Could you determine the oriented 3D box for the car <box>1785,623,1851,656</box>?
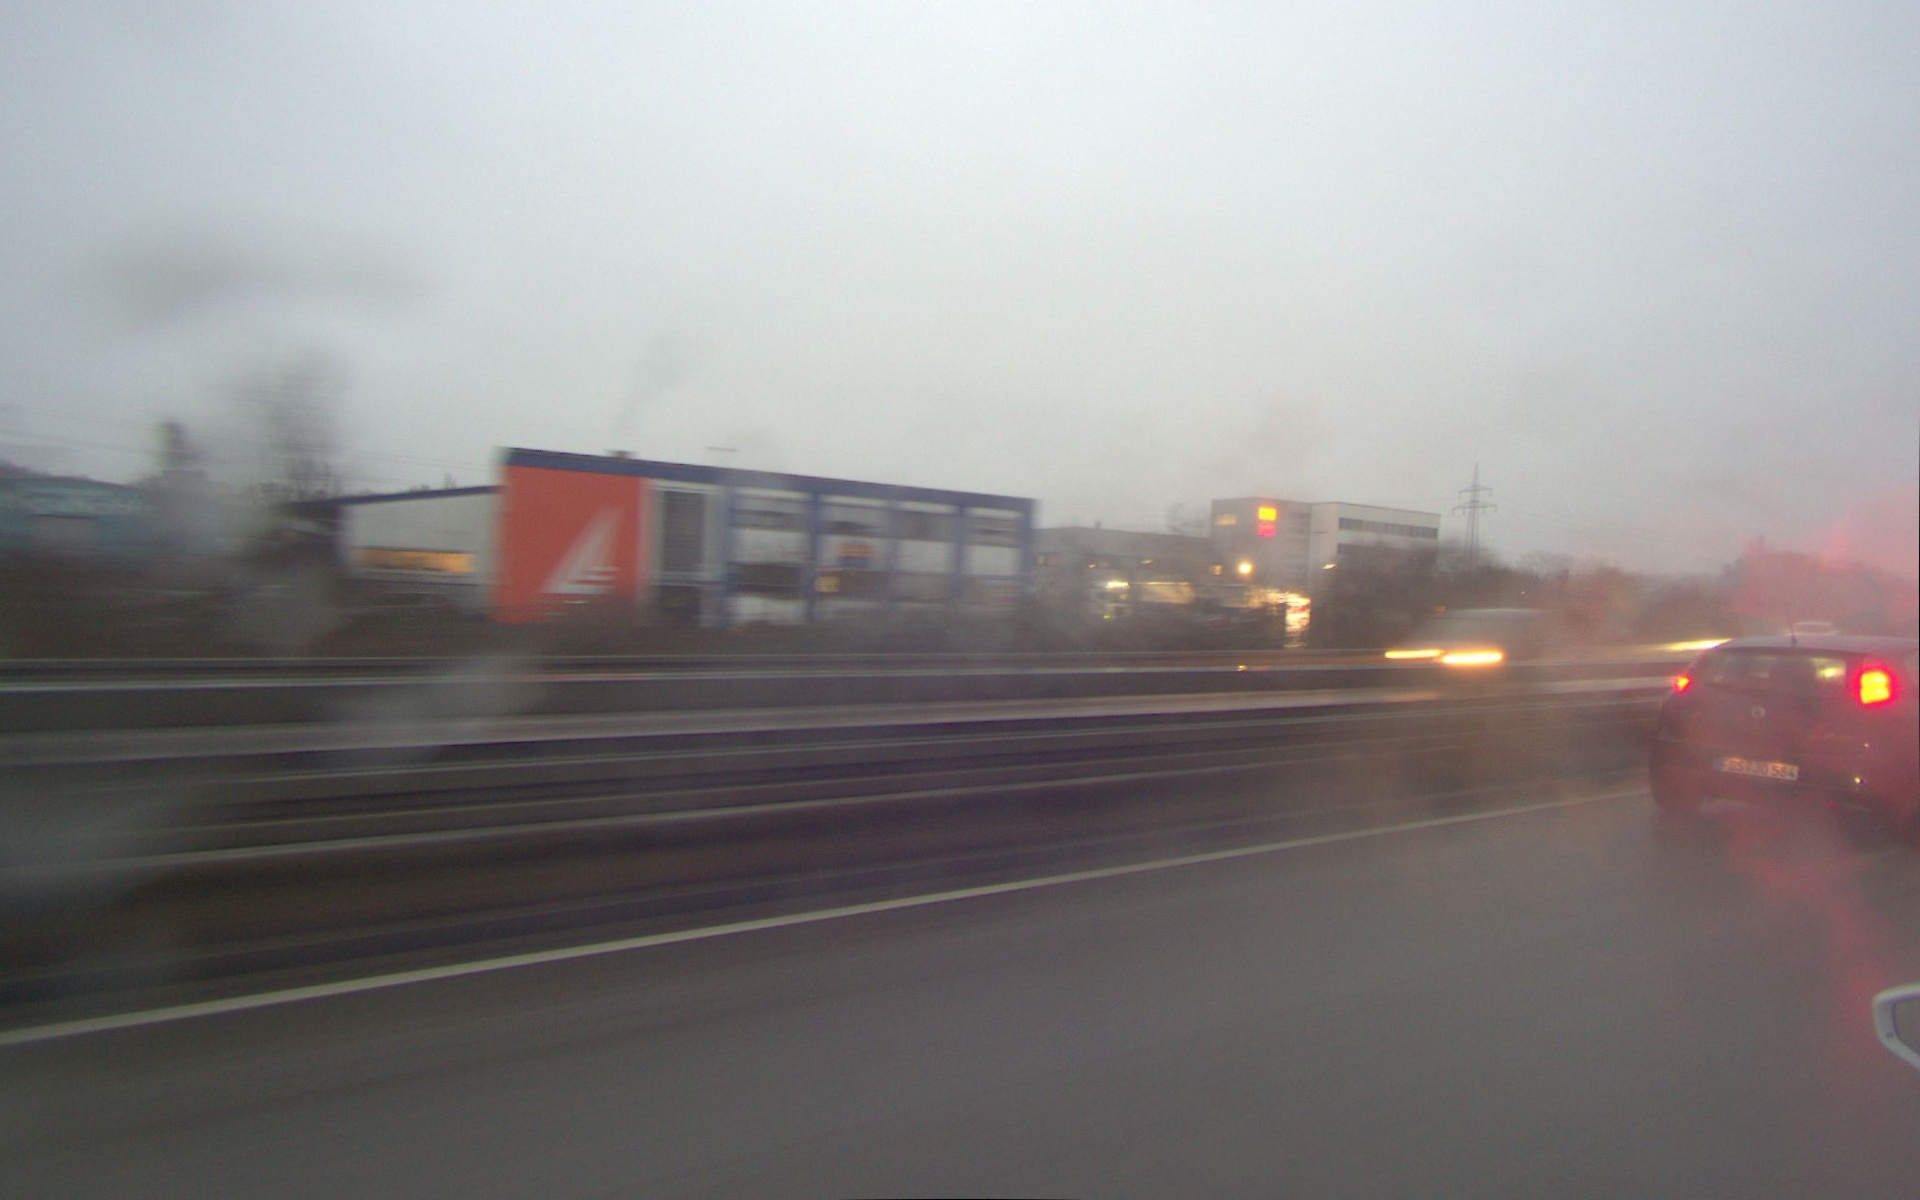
[{"bbox_3d":[40.182,1.823,47.018,4.046,1.439,1.658,1,-1,-39],"label":"car"}]

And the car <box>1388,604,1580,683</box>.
[{"bbox_3d":[12.259,0.980,23.458,4.377,1.695,1.984,1,-1,-31],"label":"car"}]

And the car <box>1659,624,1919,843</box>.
[{"bbox_3d":[7.708,0.958,8.413,3.956,1.410,1.616,2,0,-32],"label":"car"}]
